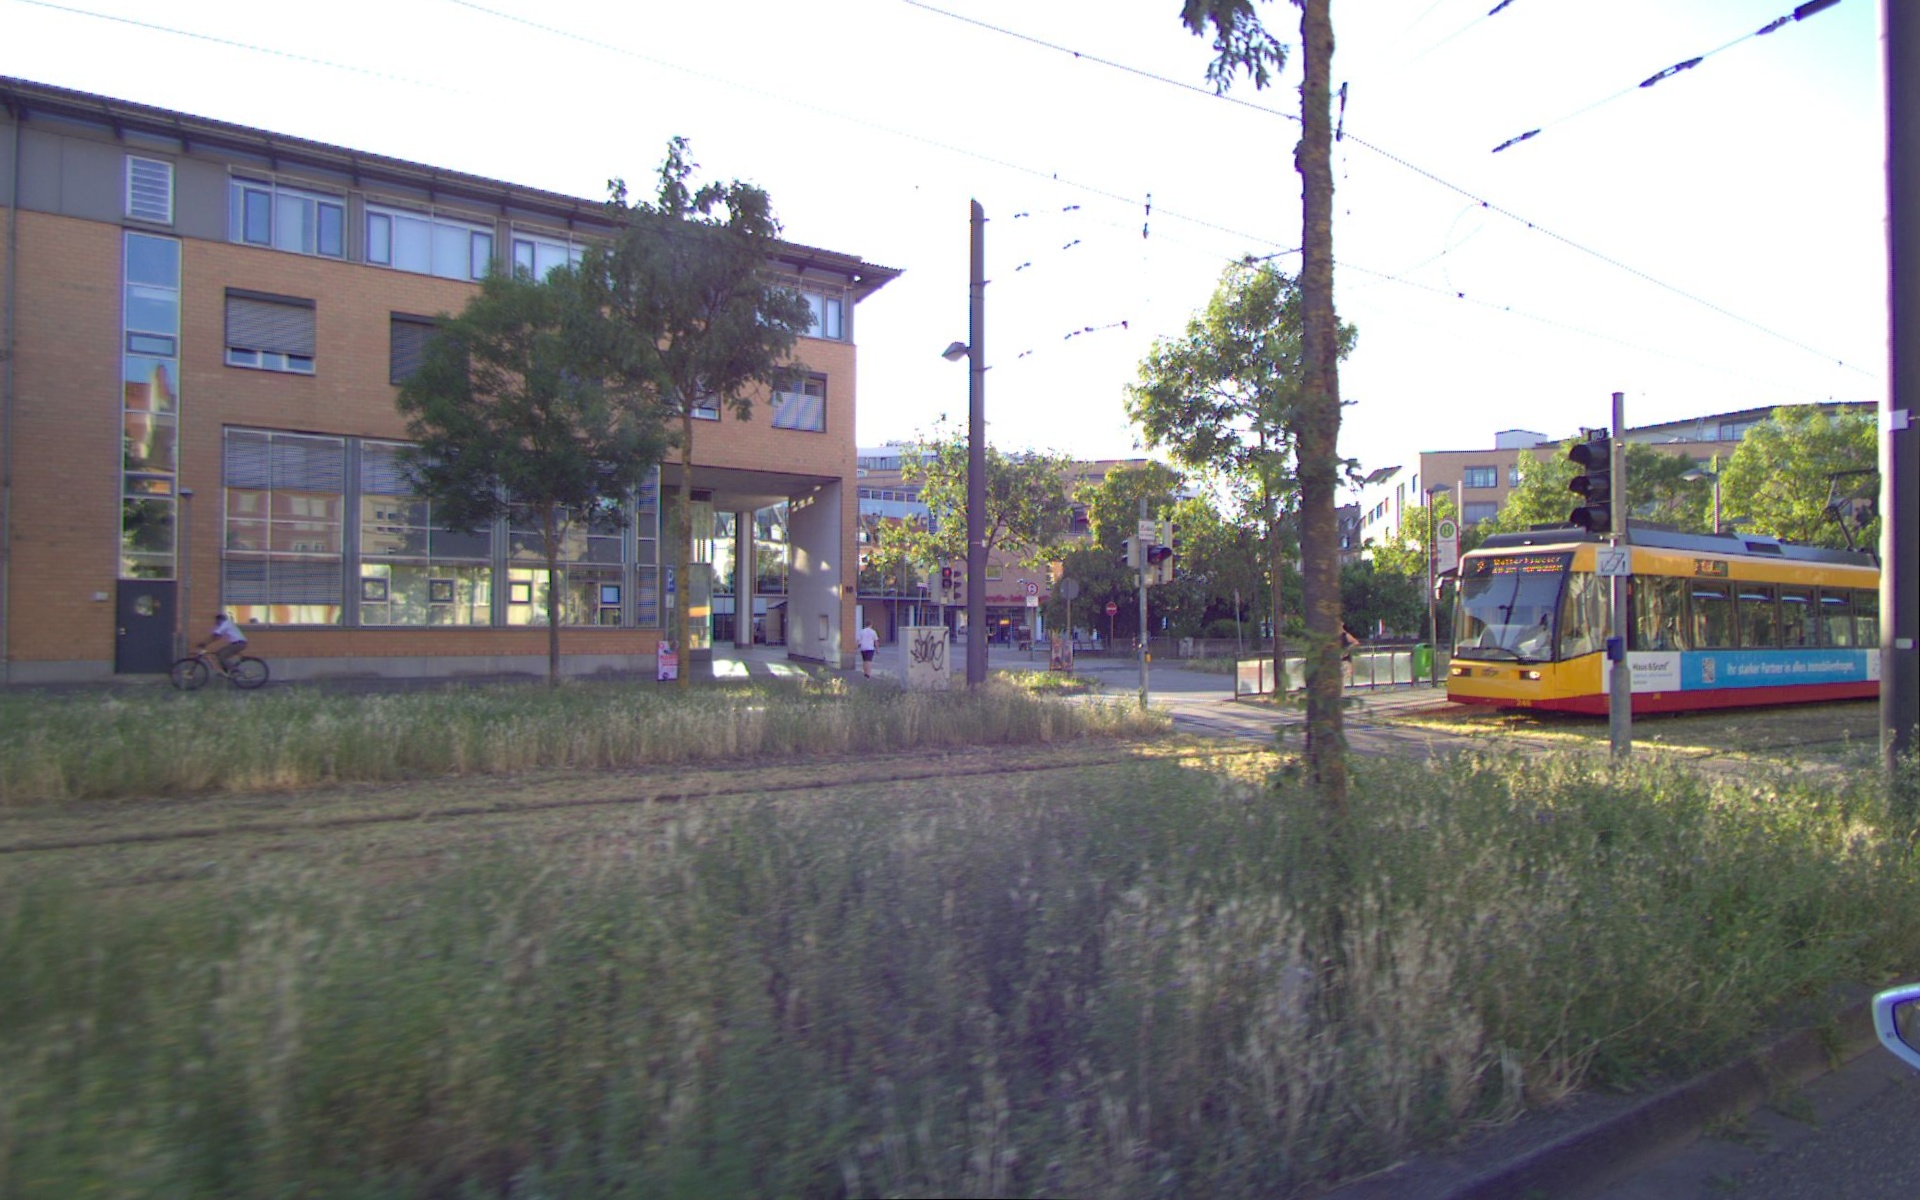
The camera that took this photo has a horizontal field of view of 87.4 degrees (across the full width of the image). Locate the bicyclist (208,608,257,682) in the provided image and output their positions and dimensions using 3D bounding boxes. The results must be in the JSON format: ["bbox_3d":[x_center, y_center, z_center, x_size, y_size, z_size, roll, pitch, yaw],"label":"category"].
[{"bbox_3d":[-16.856,1.032,23.278,0.816,1.696,0.692,1,-1,-30],"label":"bicyclist"}]

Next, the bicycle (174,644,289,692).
[{"bbox_3d":[-16.843,1.557,23.290,2.069,1.066,0.706,1,-1,-30],"label":"bicycle"}]

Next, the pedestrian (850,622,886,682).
[{"bbox_3d":[-2.705,1.506,29.492,0.822,1.720,0.683,1,-1,-38],"label":"pedestrian"}]

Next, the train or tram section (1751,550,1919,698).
[{"bbox_3d":[27.035,0.713,27.759,13.695,3.383,3.415,1,-1,-30],"label":"train or tram section"}]

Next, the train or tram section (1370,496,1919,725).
[{"bbox_3d":[14.673,0.346,20.488,14.851,3.475,3.415,1,-1,-30],"label":"train or tram section"}]

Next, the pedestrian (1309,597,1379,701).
[{"bbox_3d":[7.760,0.982,20.300,0.946,2.040,0.930,1,-1,-30],"label":"pedestrian"}]
